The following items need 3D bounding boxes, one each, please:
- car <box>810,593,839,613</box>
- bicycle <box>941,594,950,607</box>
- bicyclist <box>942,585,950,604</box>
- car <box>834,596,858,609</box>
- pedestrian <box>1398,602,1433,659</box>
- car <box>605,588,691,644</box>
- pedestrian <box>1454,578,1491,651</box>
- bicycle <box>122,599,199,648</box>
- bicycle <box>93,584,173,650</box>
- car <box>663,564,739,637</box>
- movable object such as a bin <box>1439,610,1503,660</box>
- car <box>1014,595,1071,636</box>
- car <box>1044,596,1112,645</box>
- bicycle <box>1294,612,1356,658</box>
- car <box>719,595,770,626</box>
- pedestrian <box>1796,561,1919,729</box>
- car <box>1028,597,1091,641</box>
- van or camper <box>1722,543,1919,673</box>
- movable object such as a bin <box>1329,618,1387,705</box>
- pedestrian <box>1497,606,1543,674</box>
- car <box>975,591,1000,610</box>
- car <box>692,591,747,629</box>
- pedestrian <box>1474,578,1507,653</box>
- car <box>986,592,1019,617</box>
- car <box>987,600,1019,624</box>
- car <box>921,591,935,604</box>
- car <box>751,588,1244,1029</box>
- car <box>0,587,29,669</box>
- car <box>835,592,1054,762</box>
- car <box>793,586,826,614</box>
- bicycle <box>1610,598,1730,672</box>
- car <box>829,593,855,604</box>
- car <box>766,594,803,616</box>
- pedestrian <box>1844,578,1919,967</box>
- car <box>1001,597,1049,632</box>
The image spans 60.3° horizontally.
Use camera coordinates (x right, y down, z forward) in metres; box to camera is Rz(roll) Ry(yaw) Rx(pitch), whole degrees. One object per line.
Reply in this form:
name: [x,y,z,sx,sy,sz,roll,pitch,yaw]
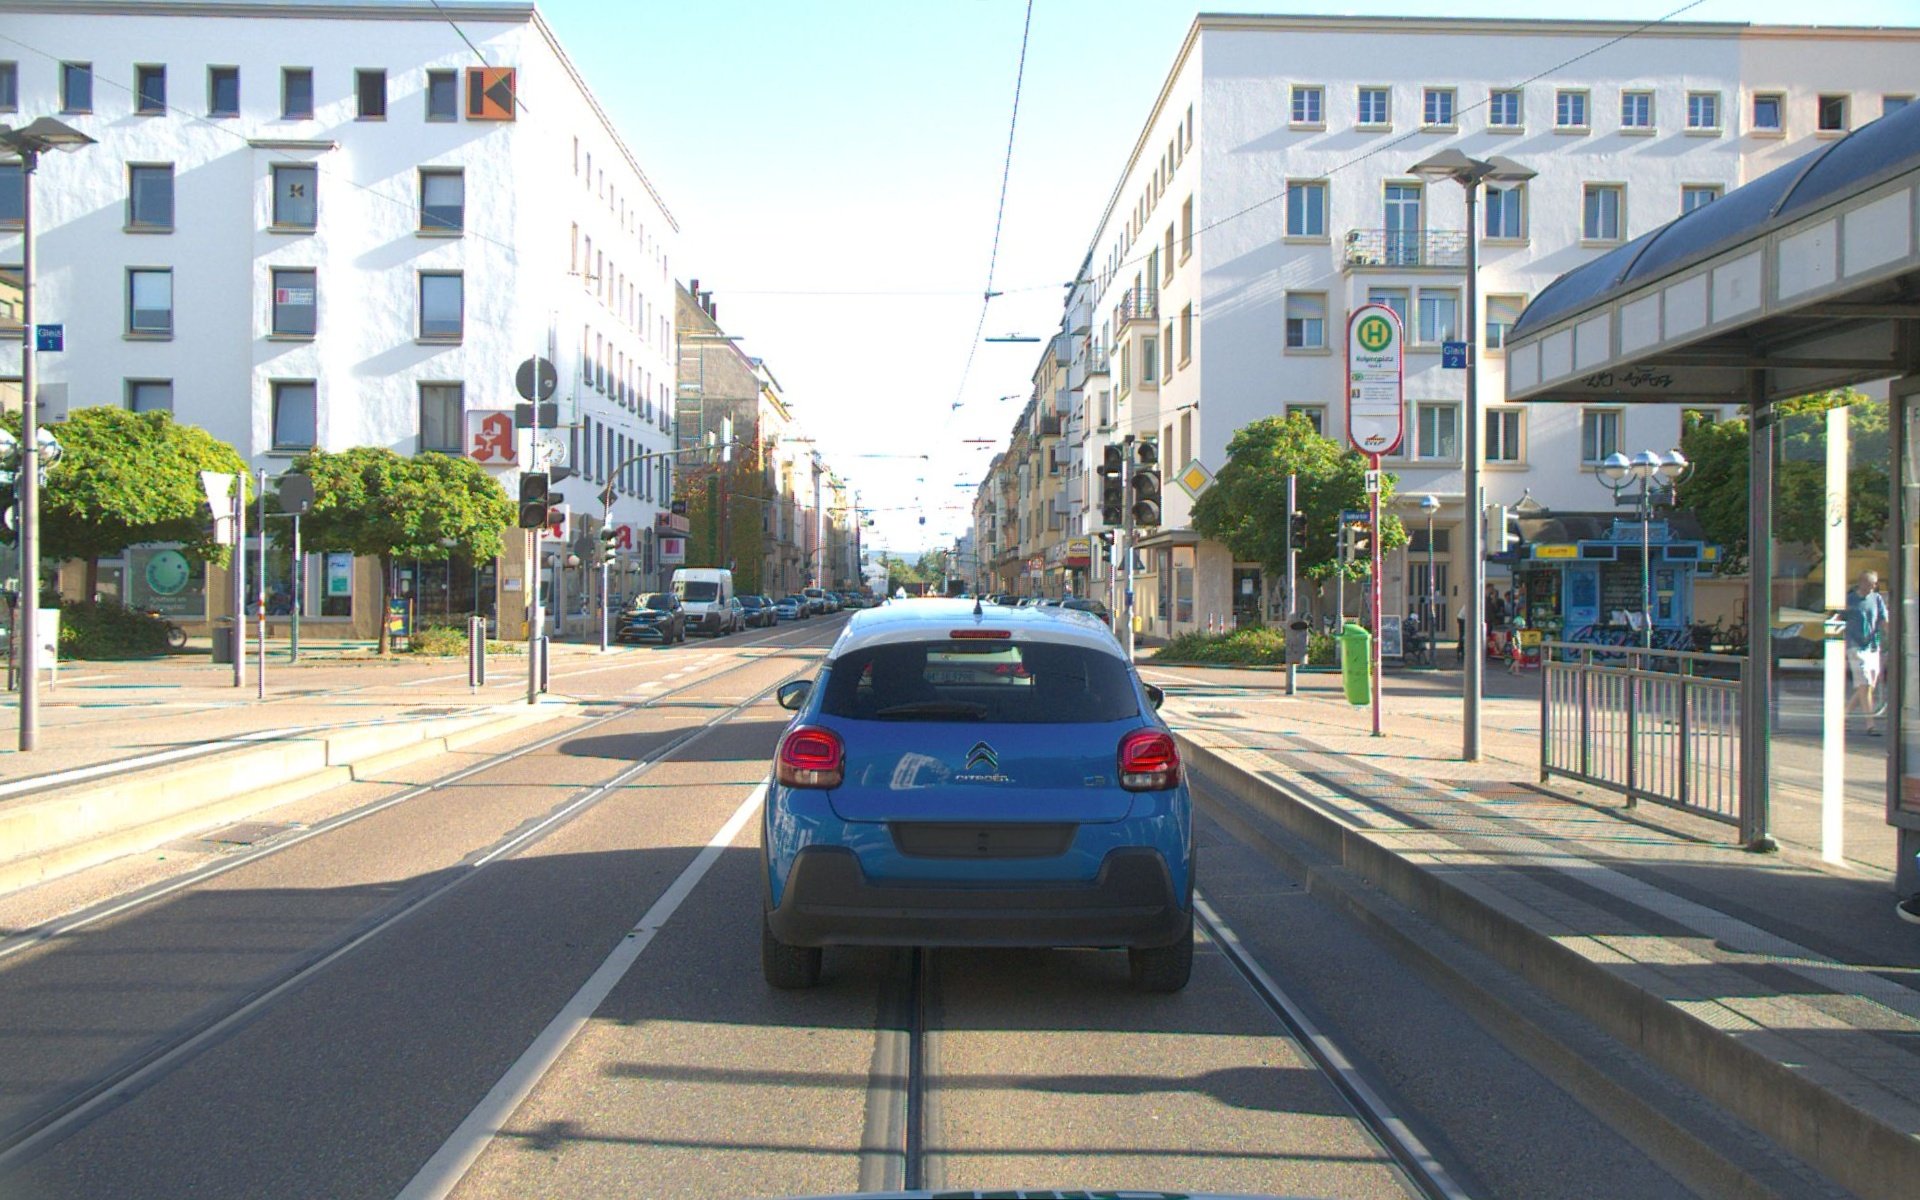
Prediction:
car: [-11.191,0.266,136.591,1.914,1.579,3.939,1,0,1]
bicycle: [-1.590,0.015,183.637,0.901,1.413,3.131,0,0,0]
bicyclist: [-1.559,-0.572,183.696,0.793,2.049,0.922,1,-1,-2]
car: [-10.611,0.199,153.598,1.953,1.176,4.000,0,0,0]
pedestrian: [10.790,0.710,39.159,0.725,1.339,0.628,0,0,22]
car: [-9.790,0.490,52.203,1.953,1.596,4.401,3,0,-2]
pedestrian: [13.177,0.372,42.546,0.768,1.871,0.678,0,0,2]
bicycle: [-20.626,0.585,42.720,0.605,1.211,2.621,0,0,2]
bicycle: [-21.335,0.426,42.734,0.605,1.635,2.621,0,0,3]
car: [-9.737,0.000,62.566,2.043,2.586,6.203,1,0,-2]
movable object such as a bin: [12.461,0.843,40.372,1.174,1.173,1.217,0,0,0]
car: [3.117,0.562,62.915,1.953,1.527,4.000,0,0,0]
car: [3.709,0.612,52.451,1.870,1.489,4.000,0,0,0]
bicycle: [9.427,0.903,42.691,1.534,1.140,0.300,1,-1,10]
car: [-10.102,0.491,77.926,1.953,1.422,4.155,1,0,-2]
pedestrian: [10.575,0.519,19.361,0.961,1.910,1.128,0,-1,-3]
car: [3.430,0.637,57.521,1.953,1.489,4.000,0,0,0]
van or camper: [20.935,0.143,36.664,6.976,2.795,2.371,0,1,0]
movable object such as a bin: [3.737,0.570,15.530,0.439,0.800,0.489,0,0,2]
pedestrian: [12.361,0.879,36.528,0.715,1.434,0.755,0,3,-1]
car: [2.185,0.042,133.146,1.953,1.489,4.000,0,0,0]
car: [-10.044,0.434,69.240,1.850,1.522,3.560,1,0,-2]
pedestrian: [13.353,0.381,41.623,0.639,1.871,0.659,0,0,2]
car: [2.591,0.259,101.729,1.953,1.489,4.504,0,0,0]
car: [2.732,0.744,106.364,1.953,1.489,4.000,0,0,0]
car: [-4.575,-0.321,234.346,1.953,1.803,3.999,0,0,-1]
car: [0.103,0.725,7.677,1.693,1.508,3.826,1,0,-1]
car: [-22.388,0.591,35.373,3.906,1.736,1.825,0,0,-2]
car: [-0.176,0.688,17.292,1.944,1.490,4.814,1,0,-1]
car: [-11.492,-0.008,126.468,1.965,2.049,4.690,1,0,1]
bicycle: [15.890,0.774,37.033,2.336,1.558,0.726,2,0,-2]
car: [-13.185,-0.174,184.572,1.951,1.176,4.518,0,0,8]
car: [-10.927,0.319,103.043,1.953,1.348,3.921,1,0,-2]
pedestrian: [3.590,0.578,5.293,0.978,1.246,0.923,3,-1,-1]
car: [2.846,0.616,72.904,1.953,1.489,4.000,0,0,0]
